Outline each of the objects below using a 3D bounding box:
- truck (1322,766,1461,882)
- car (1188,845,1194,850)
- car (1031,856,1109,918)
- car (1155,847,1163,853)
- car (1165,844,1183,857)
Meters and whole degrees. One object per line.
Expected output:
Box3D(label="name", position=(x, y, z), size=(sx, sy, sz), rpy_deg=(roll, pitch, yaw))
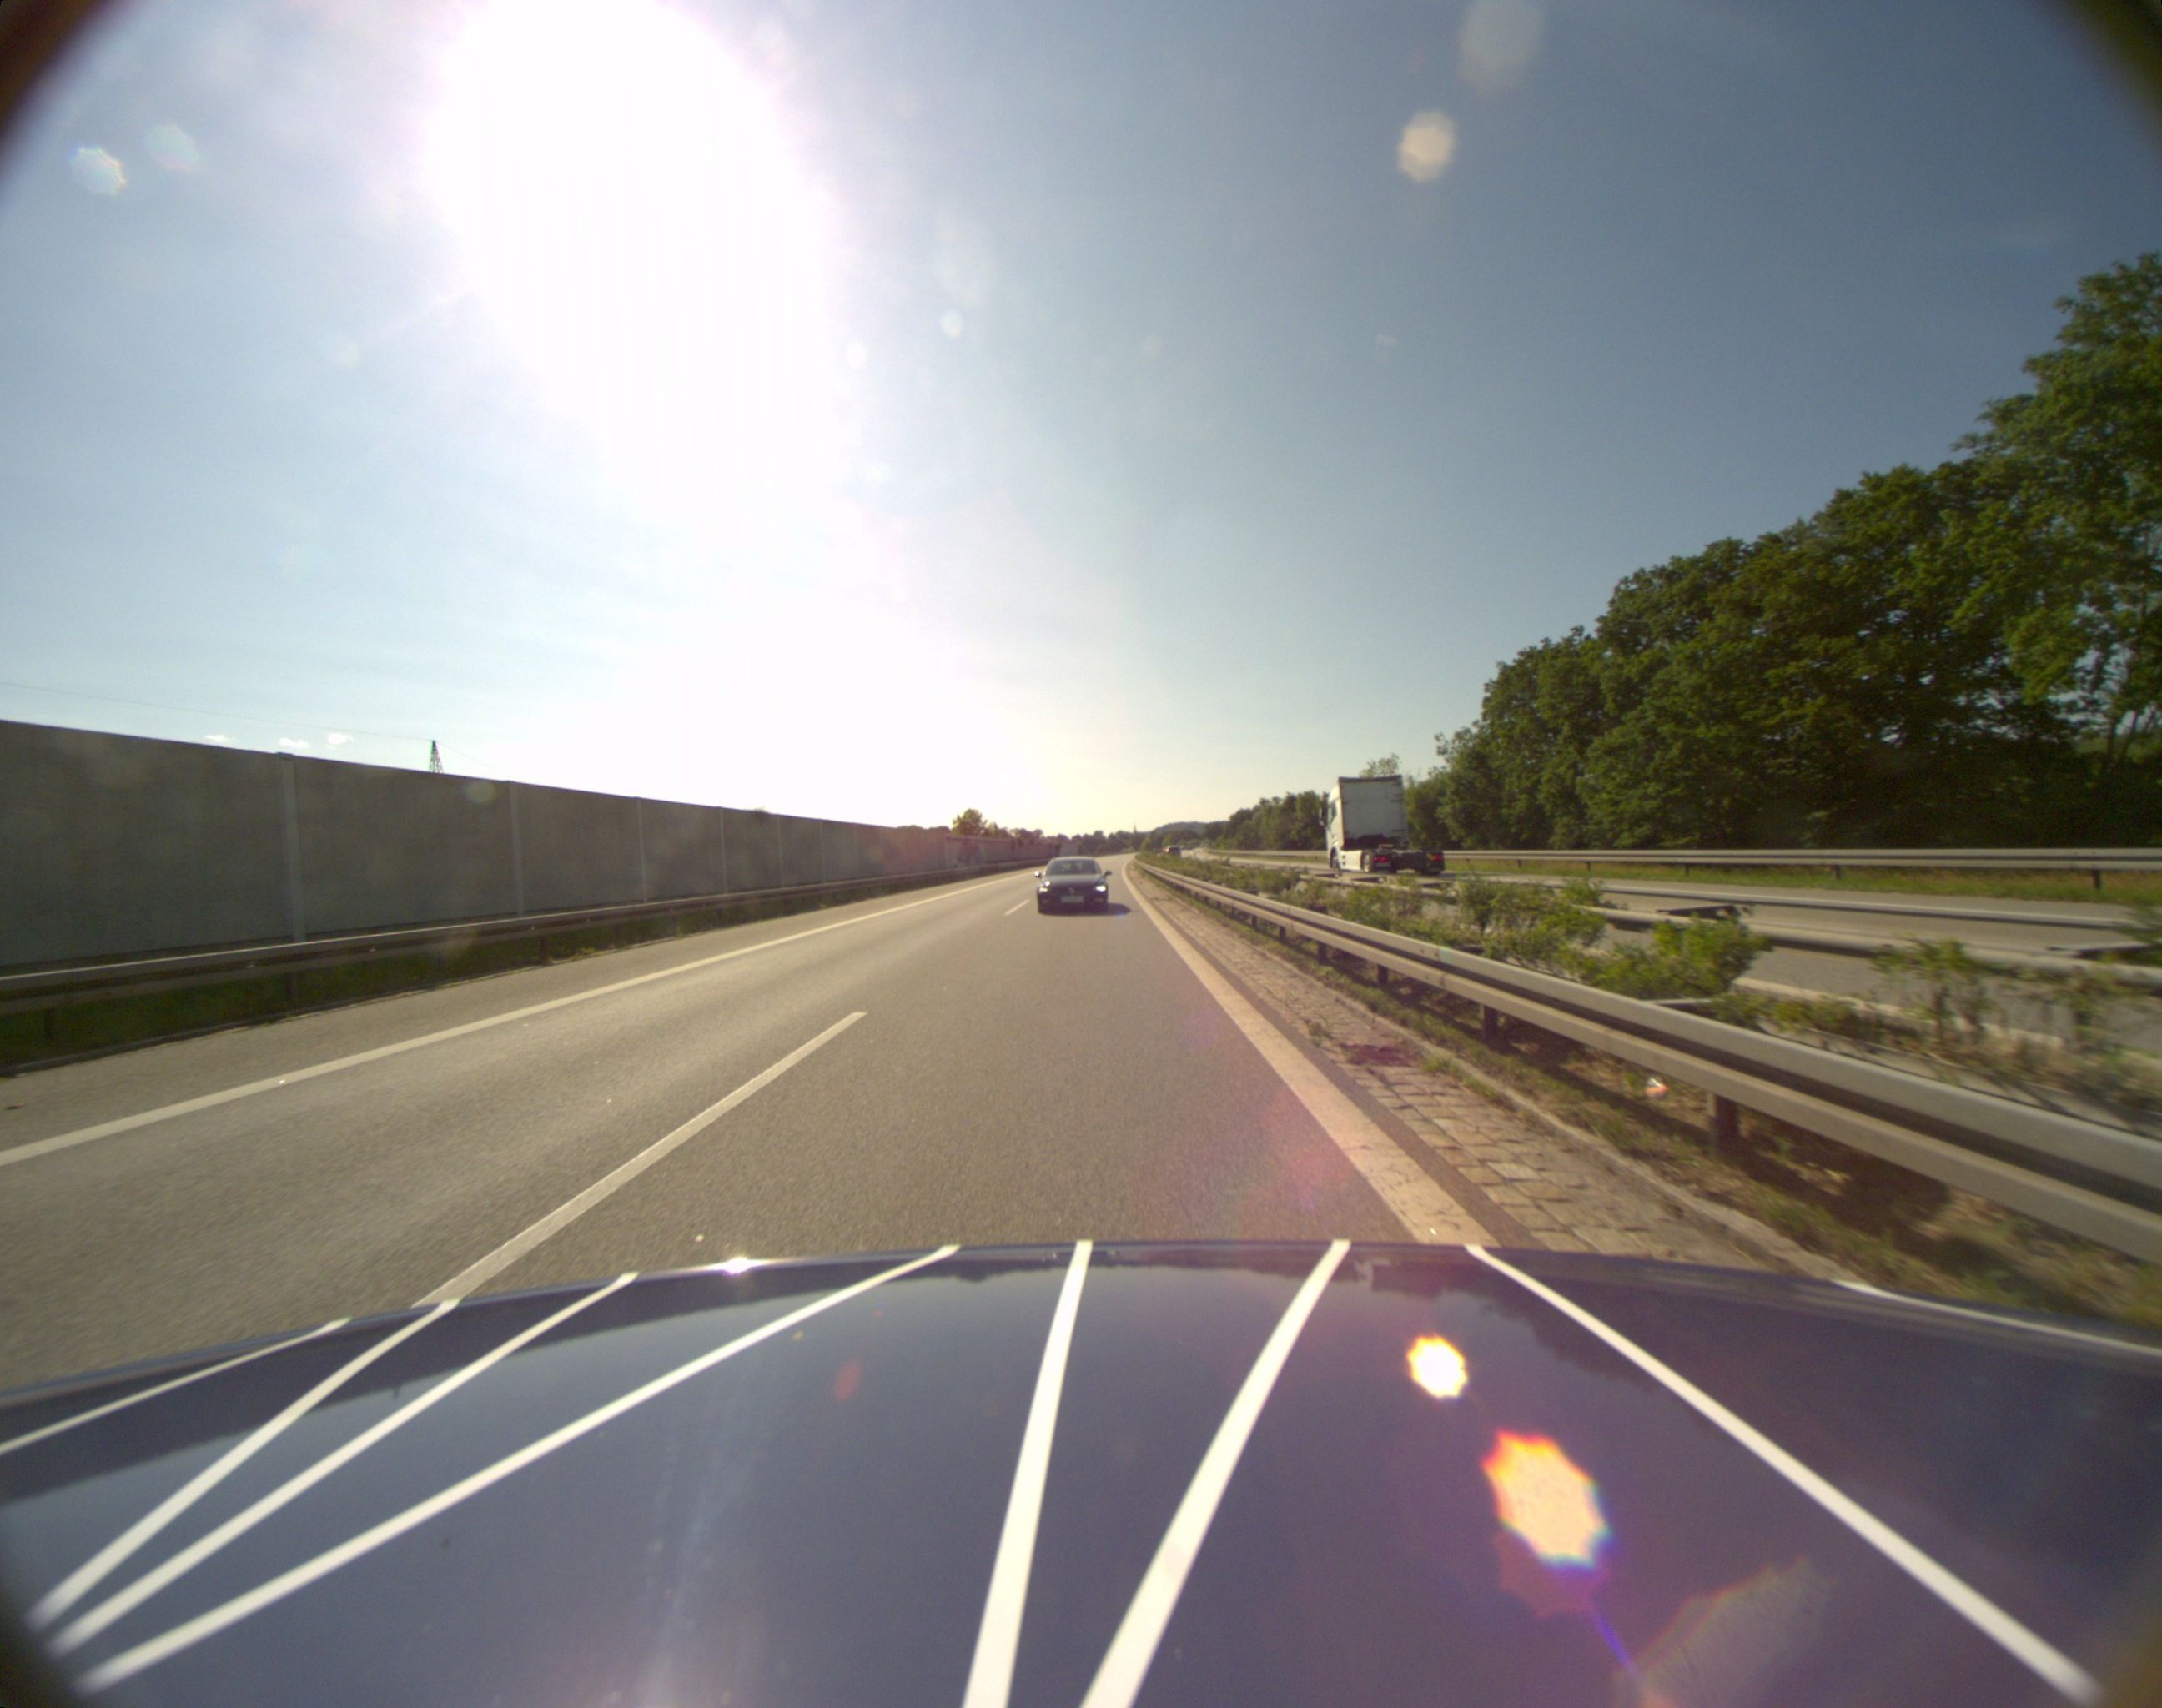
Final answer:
Box3D(label="truck", position=(11.372, -1.021, 28.601), size=(2.631, 3.817, 6.810), rpy_deg=(-1, 0, 2))
Box3D(label="car", position=(38.396, -2.249, 264.629), size=(1.857, 1.625, 4.496), rpy_deg=(0, 1, 8))
Box3D(label="car", position=(-0.186, 0.834, 21.030), size=(1.722, 1.392, 4.414), rpy_deg=(-1, 1, 5))
Box3D(label="car", position=(19.647, -1.097, 191.960), size=(1.935, 1.496, 4.795), rpy_deg=(0, 0, 6))
Box3D(label="car", position=(11.333, -0.425, 92.704), size=(1.846, 1.597, 4.000), rpy_deg=(0, 0, 3))
